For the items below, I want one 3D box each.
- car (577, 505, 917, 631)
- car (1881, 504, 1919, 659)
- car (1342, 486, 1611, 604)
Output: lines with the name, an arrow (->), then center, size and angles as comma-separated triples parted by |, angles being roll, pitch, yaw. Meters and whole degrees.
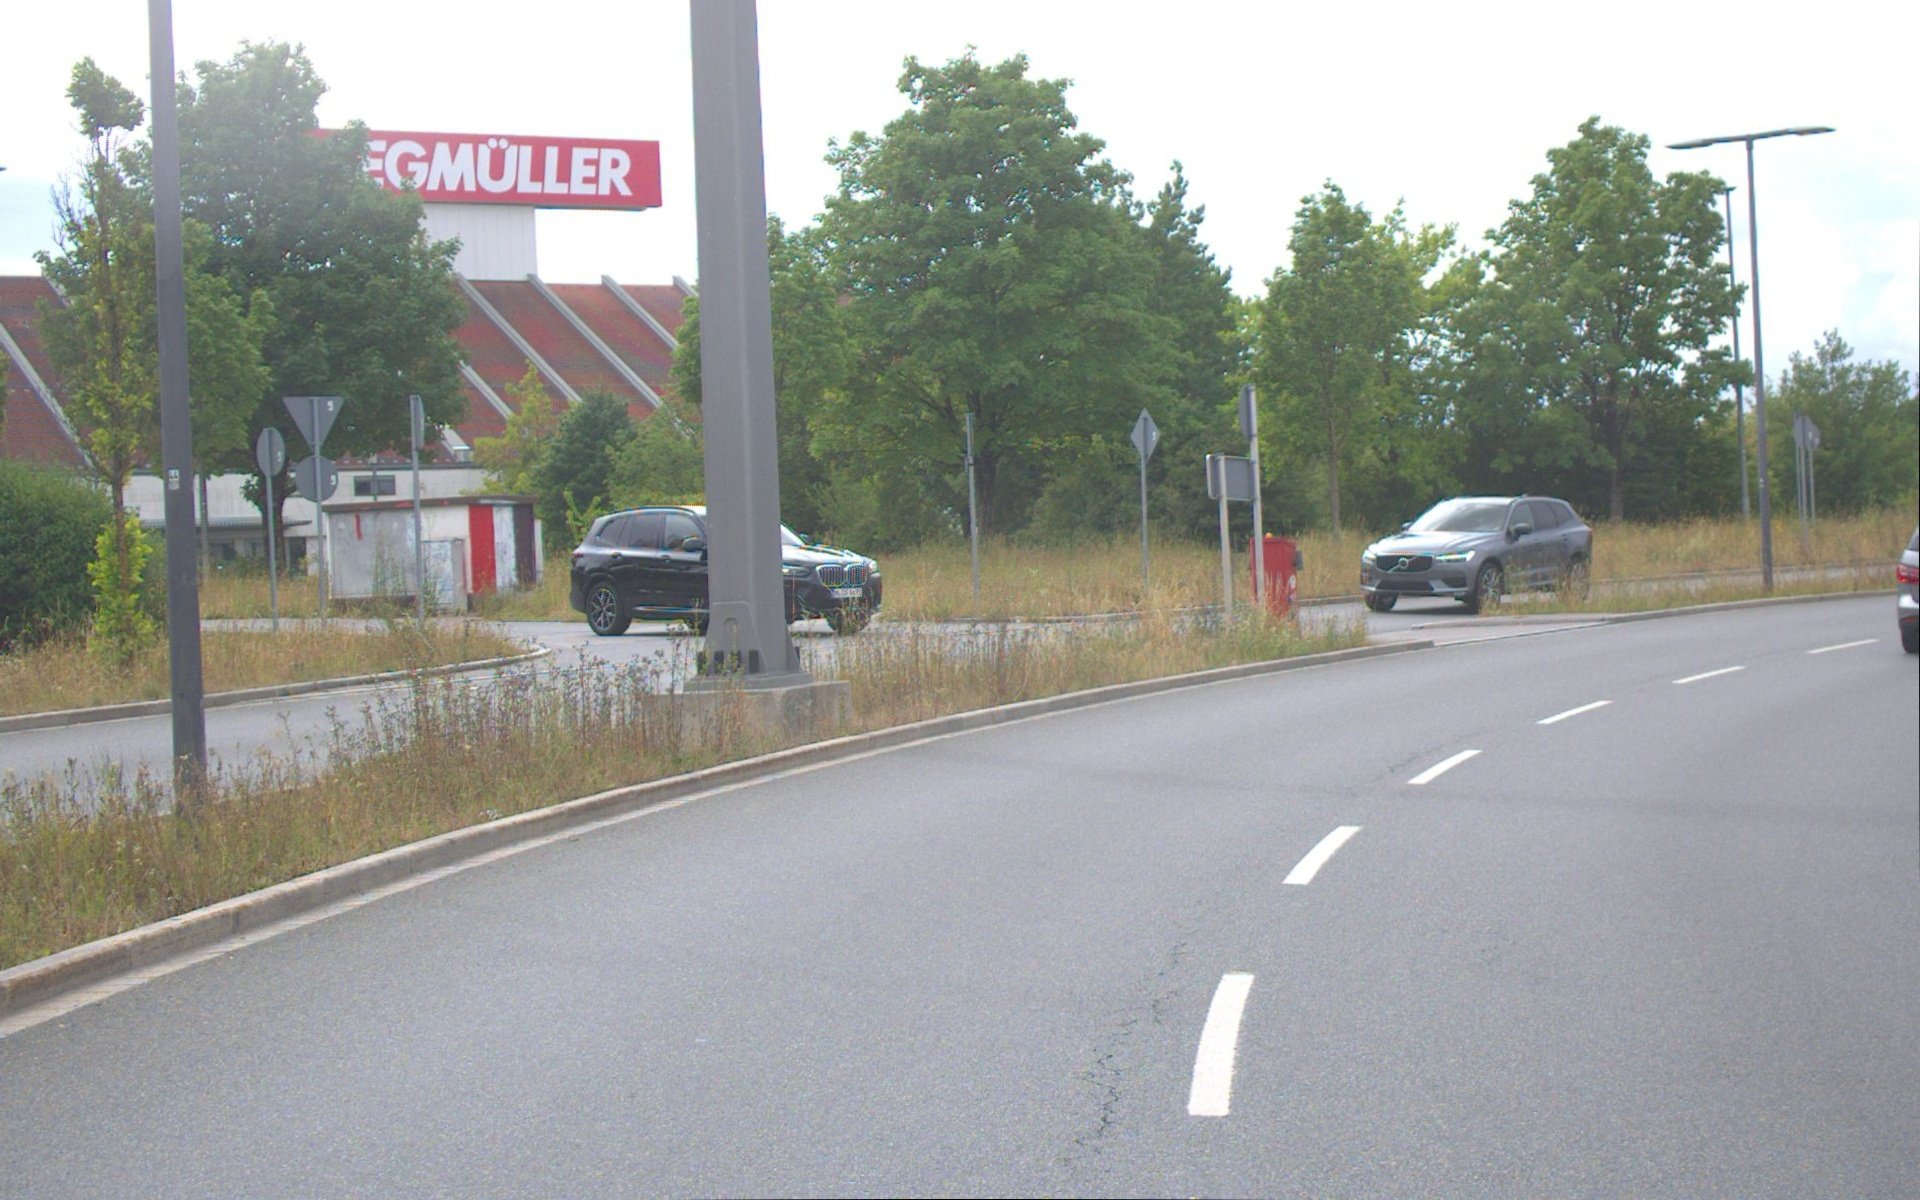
car -> -2.774, -0.421, 44.302 | 4.251, 1.544, 1.869 | 0, 2, 40
car -> 11.461, -0.171, 37.654 | 1.770, 1.611, 3.915 | -2, -2, 28
car -> 7.607, -0.825, 50.281 | 1.813, 1.624, 4.677 | 2, 2, 38
